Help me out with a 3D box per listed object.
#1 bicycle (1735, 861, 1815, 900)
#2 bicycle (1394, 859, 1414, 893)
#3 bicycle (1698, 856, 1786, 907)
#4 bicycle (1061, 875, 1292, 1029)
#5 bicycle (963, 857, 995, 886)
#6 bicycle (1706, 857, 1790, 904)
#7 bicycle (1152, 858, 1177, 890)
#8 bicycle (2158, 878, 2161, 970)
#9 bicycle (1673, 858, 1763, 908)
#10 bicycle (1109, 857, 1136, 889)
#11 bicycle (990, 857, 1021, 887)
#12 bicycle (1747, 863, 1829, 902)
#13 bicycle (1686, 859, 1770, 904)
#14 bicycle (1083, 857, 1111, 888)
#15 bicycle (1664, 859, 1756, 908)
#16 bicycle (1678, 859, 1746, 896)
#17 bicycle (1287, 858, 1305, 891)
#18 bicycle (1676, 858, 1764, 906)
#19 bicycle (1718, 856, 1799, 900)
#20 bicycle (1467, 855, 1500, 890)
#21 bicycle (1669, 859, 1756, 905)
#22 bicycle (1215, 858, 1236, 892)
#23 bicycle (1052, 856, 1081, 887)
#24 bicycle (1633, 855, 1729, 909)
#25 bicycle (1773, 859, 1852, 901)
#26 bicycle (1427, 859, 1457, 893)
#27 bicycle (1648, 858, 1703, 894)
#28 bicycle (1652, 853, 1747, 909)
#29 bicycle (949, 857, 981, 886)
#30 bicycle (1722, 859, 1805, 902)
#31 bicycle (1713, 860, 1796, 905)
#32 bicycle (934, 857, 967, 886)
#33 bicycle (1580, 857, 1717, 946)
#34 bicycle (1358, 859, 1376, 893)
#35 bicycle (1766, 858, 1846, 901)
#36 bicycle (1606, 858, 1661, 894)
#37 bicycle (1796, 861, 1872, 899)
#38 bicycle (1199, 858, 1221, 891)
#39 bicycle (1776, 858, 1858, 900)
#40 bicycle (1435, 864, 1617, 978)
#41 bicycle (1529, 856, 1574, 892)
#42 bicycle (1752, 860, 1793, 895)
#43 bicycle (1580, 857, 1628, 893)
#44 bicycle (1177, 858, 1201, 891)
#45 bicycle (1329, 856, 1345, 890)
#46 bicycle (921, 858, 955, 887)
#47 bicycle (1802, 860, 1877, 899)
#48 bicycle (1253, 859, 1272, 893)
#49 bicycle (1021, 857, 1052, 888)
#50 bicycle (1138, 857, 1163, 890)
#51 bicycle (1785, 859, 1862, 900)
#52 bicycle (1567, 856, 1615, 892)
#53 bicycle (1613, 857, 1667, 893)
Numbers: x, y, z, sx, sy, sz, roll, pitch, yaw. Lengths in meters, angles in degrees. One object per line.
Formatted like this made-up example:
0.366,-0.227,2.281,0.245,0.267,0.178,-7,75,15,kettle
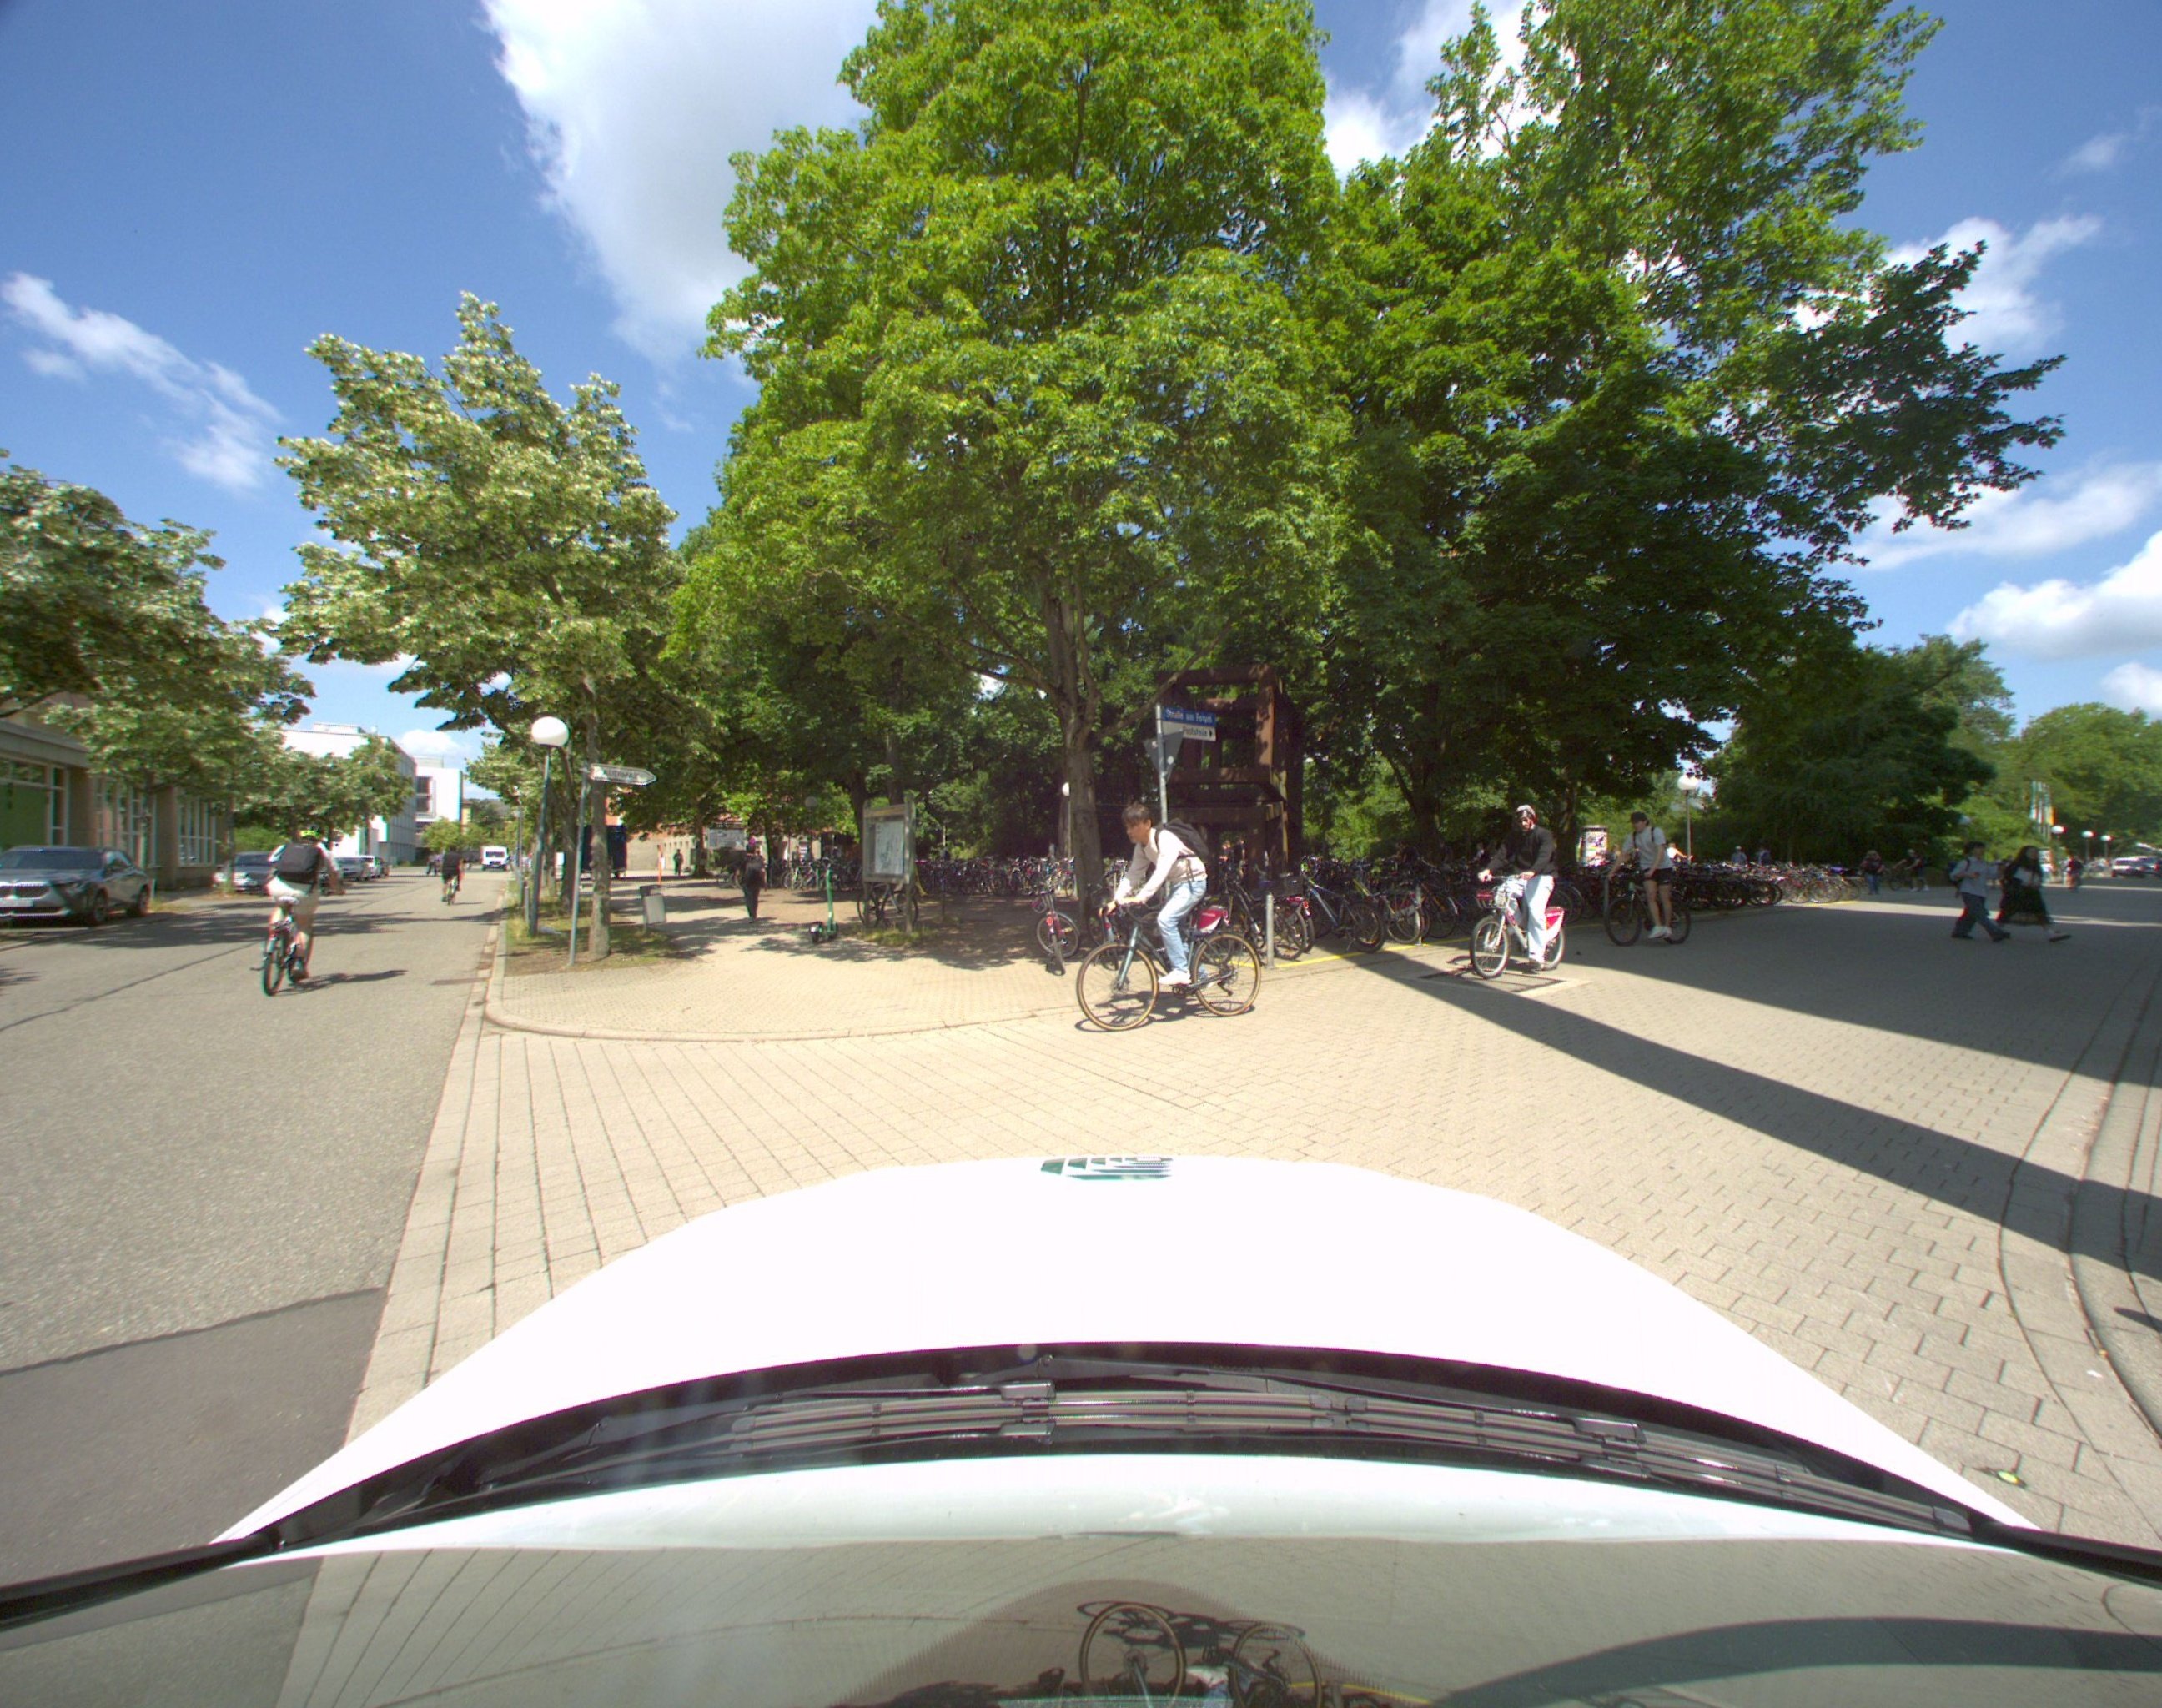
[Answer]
20.008,0.755,23.499,1.680,1.062,0.476,1,0,20,bicycle
10.626,0.708,26.790,0.469,1.083,1.707,1,0,17,bicycle
16.761,0.675,20.679,0.539,1.198,1.679,1,0,-43,bicycle
0.787,0.777,6.824,1.815,1.108,0.638,-1,2,-12,bicycle
-3.904,0.664,31.322,0.469,1.083,1.867,1,0,17,bicycle
17.750,0.686,21.689,1.678,1.187,0.477,1,0,44,bicycle
2.923,0.674,28.330,0.469,1.083,1.867,1,0,17,bicycle
7.362,0.715,4.359,0.608,1.164,1.864,0,-1,-40,bicycle
15.553,0.693,19.900,1.678,1.145,0.477,1,0,43,bicycle
1.490,0.661,28.992,0.469,1.083,1.867,1,0,17,bicycle
-2.811,0.668,30.540,0.469,1.083,1.867,1,0,17,bicycle
19.932,0.798,22.988,1.680,1.018,0.476,1,0,20,bicycle
17.136,0.717,21.599,1.678,1.108,0.569,1,0,44,bicycle
0.599,0.656,29.411,0.469,1.083,1.867,1,0,17,bicycle
15.116,0.686,19.606,1.678,1.108,0.500,1,0,44,bicycle
19.721,0.727,25.486,0.474,1.083,1.687,1,0,-21,bicycle
7.311,0.686,27.646,0.469,1.083,1.707,1,0,17,bicycle
15.869,0.684,20.252,1.678,1.108,0.477,1,0,43,bicycle
18.987,0.662,22.852,1.678,1.157,0.477,1,0,28,bicycle
13.056,0.577,26.465,0.470,1.083,1.704,1,0,10,bicycle
16.019,0.691,20.691,1.678,1.108,0.477,1,0,44,bicycle
4.915,0.684,27.626,0.469,1.083,1.867,1,0,17,bicycle
-0.500,0.626,29.606,0.469,1.083,1.867,1,0,17,bicycle
14.120,0.640,19.209,0.499,1.178,1.722,1,0,-36,bicycle
21.467,0.750,23.930,1.678,1.168,0.477,1,0,42,bicycle
11.879,0.706,26.824,0.470,1.083,1.704,1,0,10,bicycle
18.750,0.685,25.715,0.471,1.083,1.699,1,0,0,bicycle
14.689,0.618,19.379,0.500,1.235,1.720,1,0,-42,bicycle
-4.491,0.661,31.613,0.469,1.083,1.867,1,0,17,bicycle
18.771,0.725,22.435,1.678,1.108,0.477,1,0,28,bicycle
18.174,0.751,22.006,1.678,1.108,0.586,1,0,44,bicycle
-5.048,0.664,31.674,0.469,1.083,1.867,1,0,17,bicycle
8.181,0.658,11.738,1.890,1.171,0.798,1,1,-27,bicycle
9.416,0.701,26.828,0.469,1.083,1.707,1,0,17,bicycle
21.009,0.715,23.634,1.678,1.168,0.477,1,0,38,bicycle
17.364,0.669,25.623,0.471,1.083,1.697,1,0,-4,bicycle
23.366,0.788,25.284,0.476,1.091,1.680,1,0,-41,bicycle
4.428,0.679,27.918,0.469,1.083,1.867,1,0,17,bicycle
22.013,0.729,24.393,0.474,1.168,1.768,1,0,-22,bicycle
4.913,0.705,8.980,1.887,1.140,0.670,1,1,-21,bicycle
15.170,0.622,26.273,0.471,1.083,1.700,1,0,1,bicycle
22.063,0.754,25.967,1.705,1.083,0.503,1,0,-33,bicycle
16.803,0.650,26.195,0.471,1.083,1.700,1,0,1,bicycle
3.717,0.674,27.999,0.469,1.083,1.867,1,0,17,bicycle
8.419,0.612,26.806,0.469,1.083,1.707,1,0,17,bicycle
-5.596,0.718,31.921,0.469,1.083,1.867,1,0,17,bicycle
23.762,0.782,25.540,0.477,1.159,1.679,1,0,-44,bicycle
6.133,0.730,27.537,0.469,1.083,1.707,1,0,17,bicycle
-1.629,0.654,30.013,0.469,1.083,1.867,1,0,17,bicycle
2.437,0.667,28.524,0.469,1.083,1.867,1,0,17,bicycle
22.694,0.757,24.913,0.476,1.168,1.680,1,0,-41,bicycle
16.328,0.633,26.102,0.471,1.083,1.700,1,0,1,bicycle
17.833,0.667,26.026,0.471,1.083,1.697,1,0,-4,bicycle
